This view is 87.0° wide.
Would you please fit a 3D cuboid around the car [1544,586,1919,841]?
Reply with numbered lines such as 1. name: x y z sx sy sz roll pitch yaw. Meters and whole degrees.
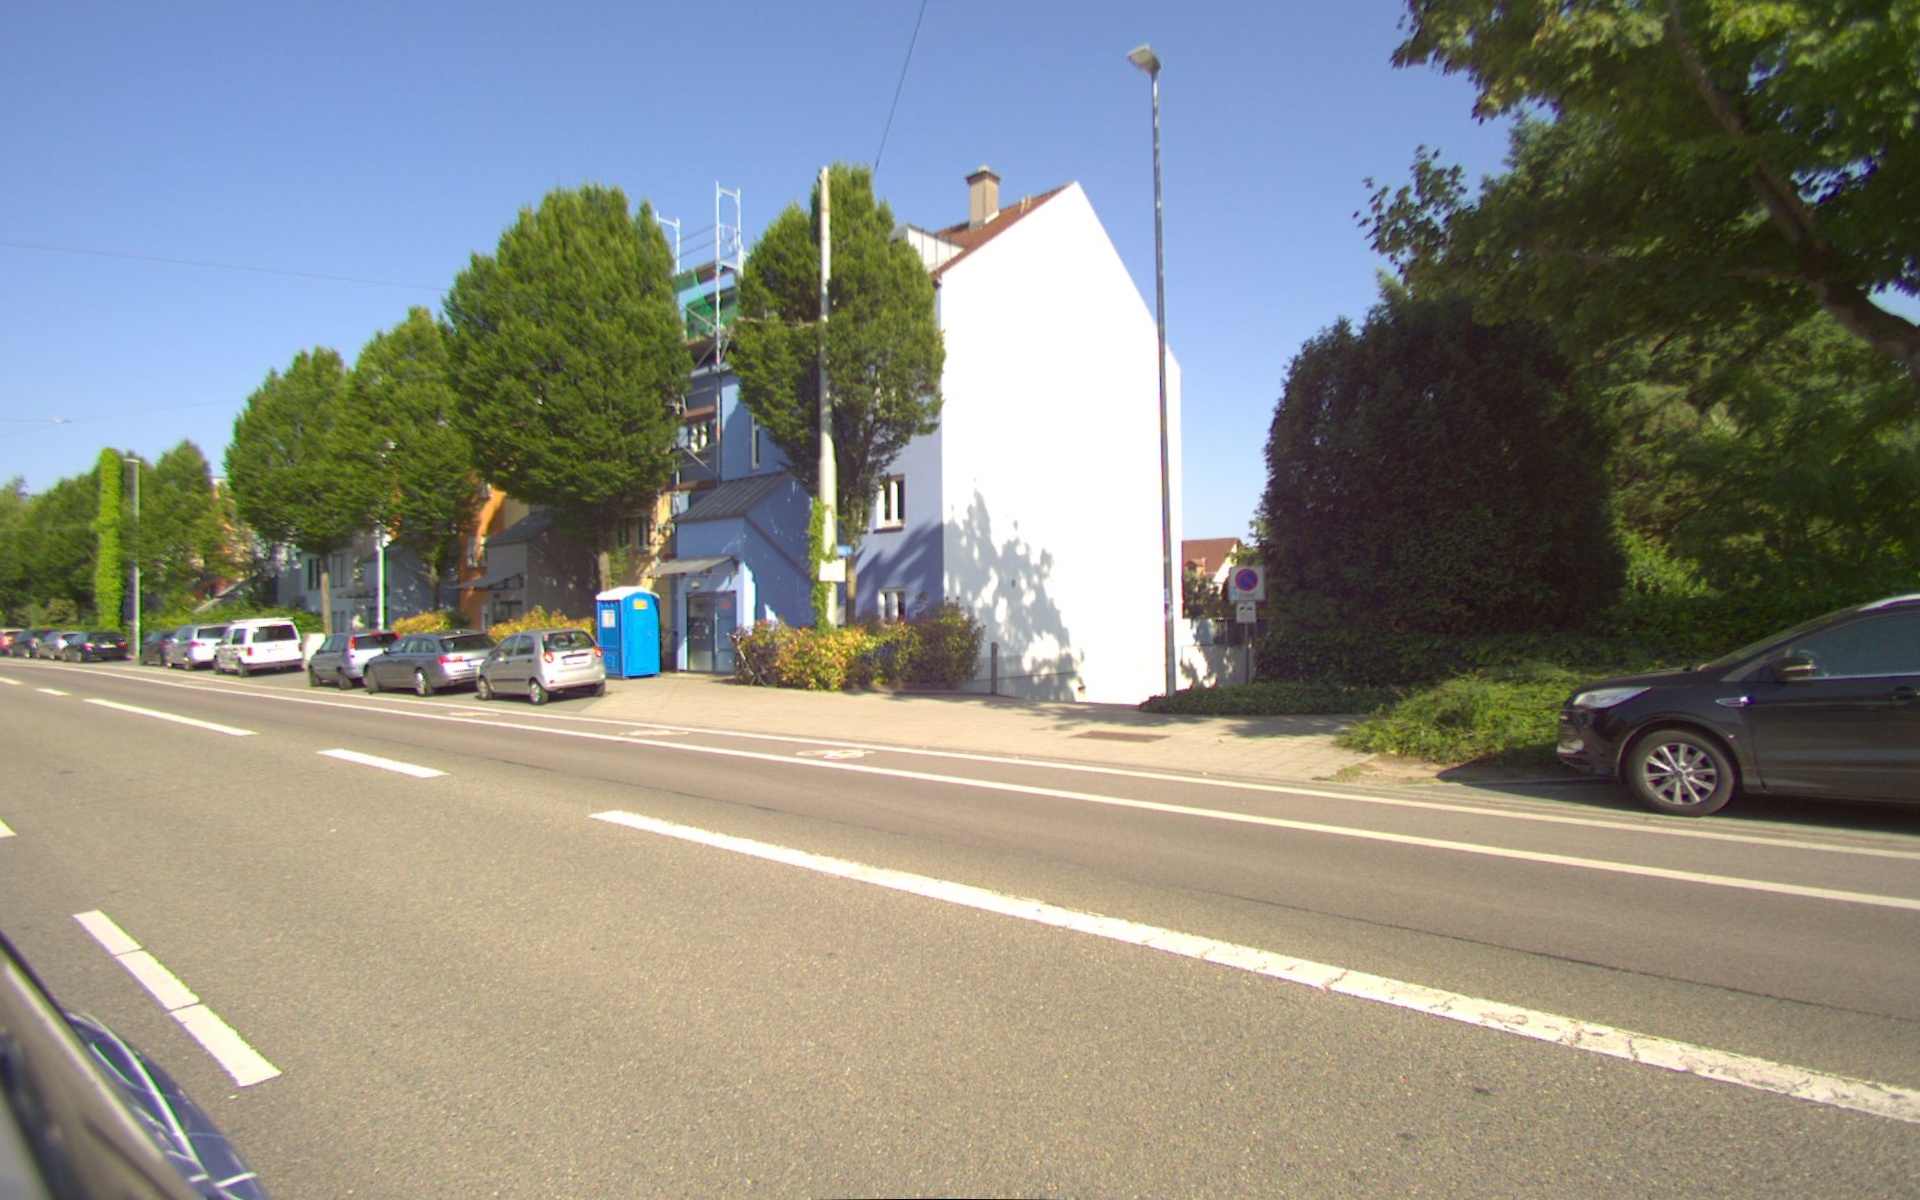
1. car: 6.991 0.765 7.425 4.420 1.707 1.694 -2 -2 41

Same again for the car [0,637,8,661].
1. car: -60.517 3.044 62.370 4.700 1.435 1.638 -2 -2 34

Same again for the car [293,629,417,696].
1. car: -16.885 1.679 28.181 3.979 1.550 1.745 -2 3 41

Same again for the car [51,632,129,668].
1. car: -42.350 2.416 49.238 4.901 1.556 1.849 -2 1 37

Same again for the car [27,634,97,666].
1. car: -46.957 2.572 52.886 4.834 1.482 1.697 -1 1 36

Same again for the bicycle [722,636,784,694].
1. bicycle: -4.449 1.373 21.676 0.438 1.163 1.786 1 -1 -42

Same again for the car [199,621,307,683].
1. car: -24.415 1.737 34.890 4.575 1.859 1.746 -2 3 39

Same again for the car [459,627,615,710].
1. car: -9.081 1.400 21.638 3.506 1.505 1.585 -2 3 40

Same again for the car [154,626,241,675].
1. car: -29.285 1.892 38.832 4.821 1.713 1.651 -2 0 41

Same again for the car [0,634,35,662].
1. car: -56.101 2.792 59.404 4.151 1.586 1.748 -1 -1 34

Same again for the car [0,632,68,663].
1. car: -51.346 2.623 55.955 4.420 1.586 1.750 -1 0 31

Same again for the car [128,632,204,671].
1. car: -33.301 2.128 42.416 4.053 1.477 1.600 -2 0 39

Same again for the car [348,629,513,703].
1. car: -13.039 1.558 24.802 4.749 1.522 1.733 -2 3 38
